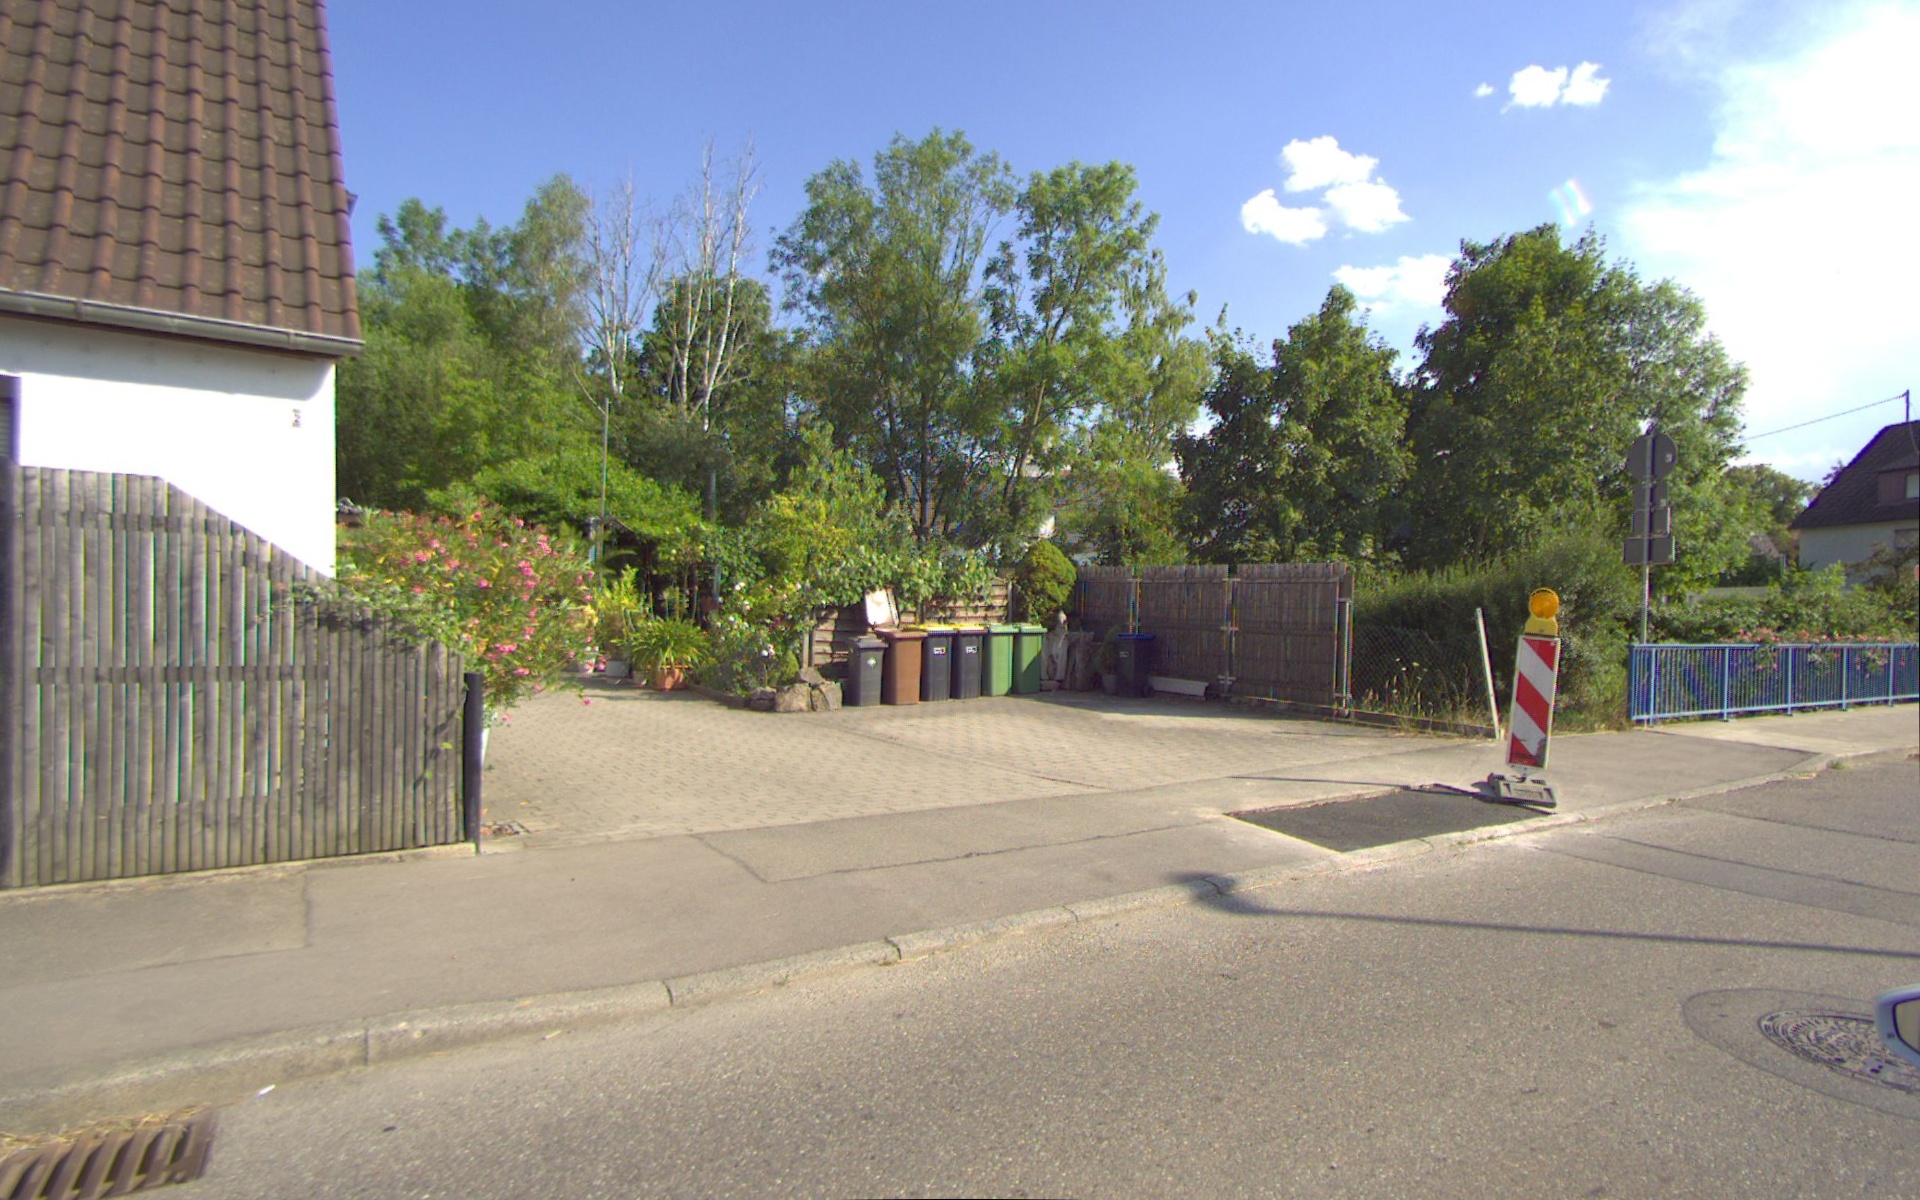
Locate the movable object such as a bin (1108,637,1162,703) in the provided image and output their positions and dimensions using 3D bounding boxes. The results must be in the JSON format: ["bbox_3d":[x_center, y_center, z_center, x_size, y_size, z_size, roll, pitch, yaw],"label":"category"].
[{"bbox_3d":[2.656,1.057,15.264,0.586,0.930,0.589,-1,1,-30],"label":"movable object such as a bin"}]

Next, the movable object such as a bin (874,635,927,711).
[{"bbox_3d":[-0.836,1.017,14.118,0.545,1.003,0.543,-1,2,-37],"label":"movable object such as a bin"}]

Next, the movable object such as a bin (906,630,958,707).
[{"bbox_3d":[-0.403,0.985,14.627,0.545,1.064,0.543,-1,2,-37],"label":"movable object such as a bin"}]

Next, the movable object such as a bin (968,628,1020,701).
[{"bbox_3d":[0.515,0.970,15.339,0.587,1.064,0.543,-1,2,-37],"label":"movable object such as a bin"}]

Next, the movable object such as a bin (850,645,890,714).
[{"bbox_3d":[-1.242,1.080,13.829,0.367,0.894,0.460,-1,2,-36],"label":"movable object such as a bin"}]

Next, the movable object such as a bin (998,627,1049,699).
[{"bbox_3d":[0.994,0.966,15.708,0.587,1.064,0.543,-1,2,-37],"label":"movable object such as a bin"}]

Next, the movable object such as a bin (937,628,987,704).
[{"bbox_3d":[0.028,0.974,14.991,0.545,1.064,0.543,-1,2,-37],"label":"movable object such as a bin"}]
